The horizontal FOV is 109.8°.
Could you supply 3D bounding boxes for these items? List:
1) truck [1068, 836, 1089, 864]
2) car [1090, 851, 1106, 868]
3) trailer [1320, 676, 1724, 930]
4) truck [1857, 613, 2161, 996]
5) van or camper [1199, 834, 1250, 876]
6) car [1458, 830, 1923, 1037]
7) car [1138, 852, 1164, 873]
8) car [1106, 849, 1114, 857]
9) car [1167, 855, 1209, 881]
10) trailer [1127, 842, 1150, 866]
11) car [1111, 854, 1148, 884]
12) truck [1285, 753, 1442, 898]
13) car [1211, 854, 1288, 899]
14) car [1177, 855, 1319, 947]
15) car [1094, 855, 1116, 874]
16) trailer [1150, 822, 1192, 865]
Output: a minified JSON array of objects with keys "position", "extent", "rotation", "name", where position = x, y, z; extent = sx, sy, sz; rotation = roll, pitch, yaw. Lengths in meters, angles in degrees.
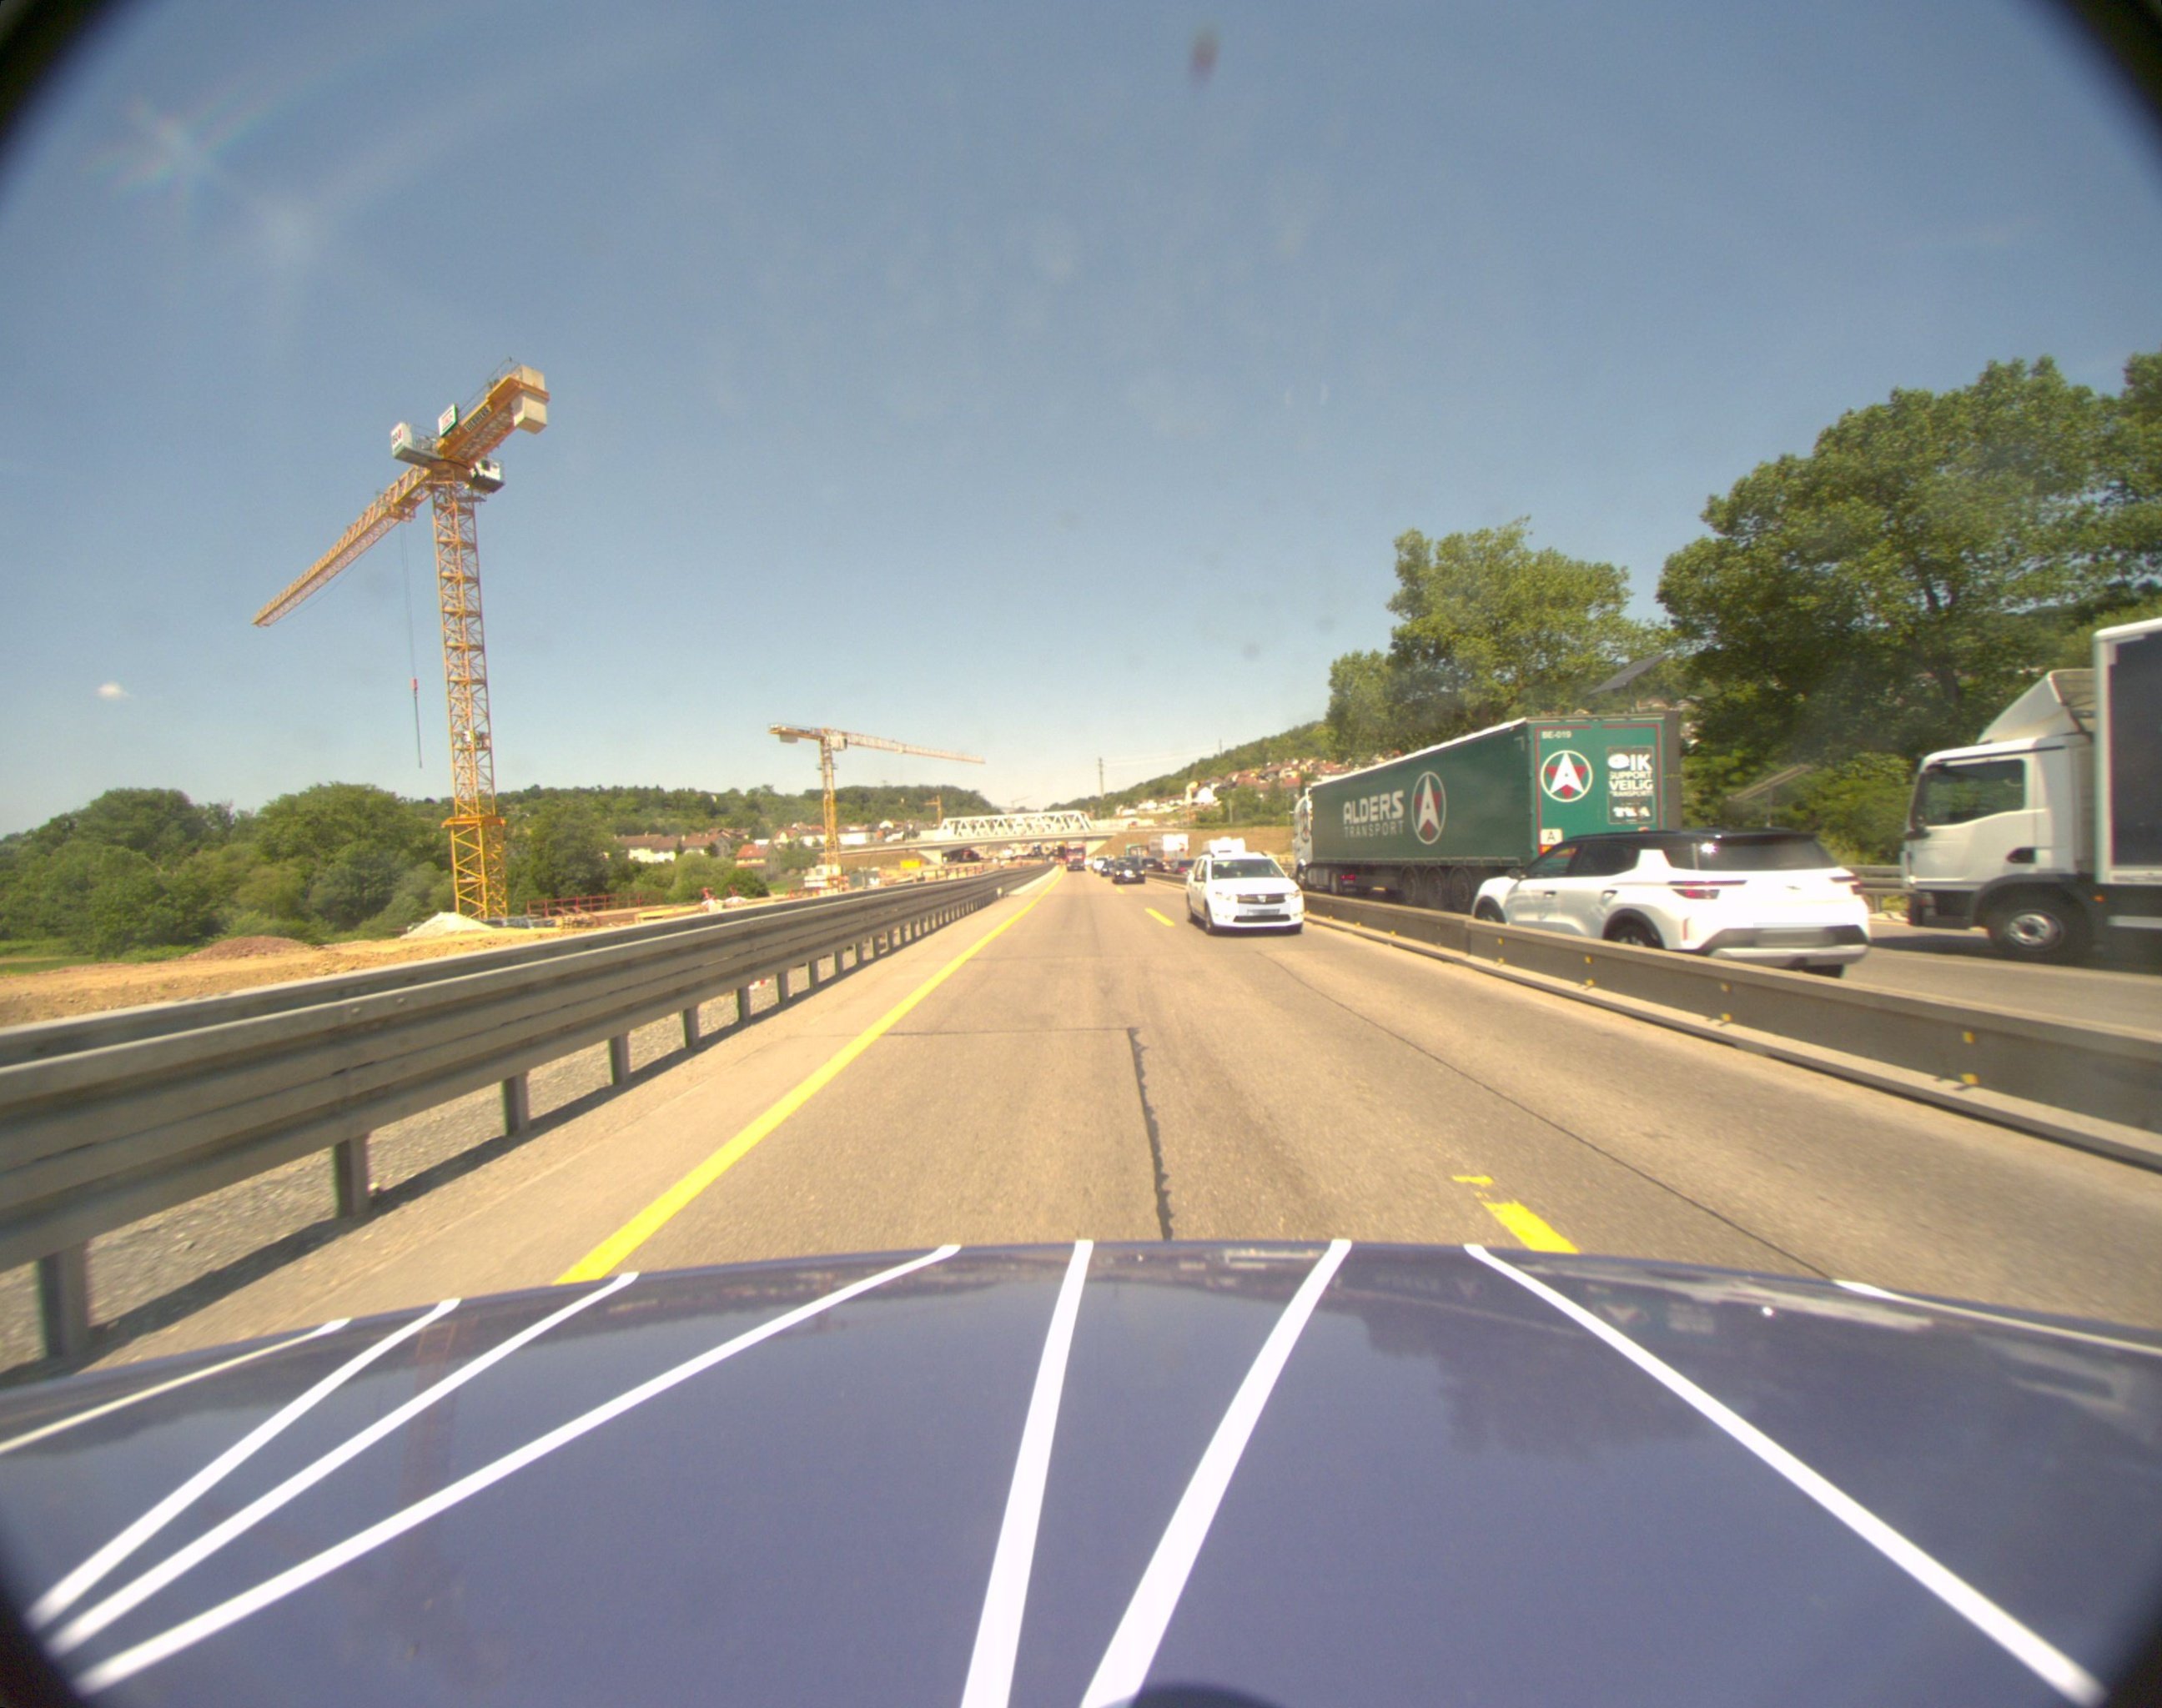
[{"position":[-0.265,-0.555,106.064],"extent":[2.702,3.705,8.507],"rotation":[-2,1,1],"name":"truck"},{"position":[1.993,0.665,89.744],"extent":[1.791,1.870,4.000],"rotation":[-4,0,1],"name":"car"},{"position":[9.864,-0.875,19.964],"extent":[3.109,4.438,13.019],"rotation":[-1,0,1],"name":"trailer"},{"position":[12.239,-0.562,5.993],"extent":[2.913,3.742,8.362],"rotation":[-3,0,-8],"name":"truck"},{"position":[9.721,0.083,51.958],"extent":[2.510,2.683,5.243],"rotation":[-2,0,1],"name":"van or camper"},{"position":[6.168,0.681,8.476],"extent":[1.761,1.637,4.155],"rotation":[-4,0,0],"name":"car"},{"position":[6.303,0.759,68.711],"extent":[1.852,1.678,4.618],"rotation":[-3,0,-1],"name":"car"},{"position":[6.626,-0.221,174.012],"extent":[1.863,1.856,4.629],"rotation":[-1,0,2],"name":"car"},{"position":[6.282,0.797,45.179],"extent":[1.782,1.412,4.537],"rotation":[-4,0,0],"name":"car"},{"position":[9.314,0.101,124.020],"extent":[2.801,3.651,8.956],"rotation":[-3,0,-1],"name":"trailer"},{"position":[2.933,0.878,46.754],"extent":[1.862,1.682,4.097],"rotation":[-3,0,-2],"name":"car"},{"position":[9.949,-0.910,27.786],"extent":[3.085,4.510,7.103],"rotation":[-2,0,1],"name":"truck"},{"position":[6.259,0.794,28.787],"extent":[1.870,1.450,4.607],"rotation":[-4,0,1],"name":"car"},{"position":[3.180,0.813,15.468],"extent":[1.823,1.521,4.706],"rotation":[-2,0,0],"name":"car"},{"position":[2.184,0.985,69.884],"extent":[1.791,1.578,4.000],"rotation":[-4,0,1],"name":"car"},{"position":[9.440,-0.959,80.993],"extent":[2.814,4.152,11.798],"rotation":[-2,-1,-1],"name":"trailer"}]
